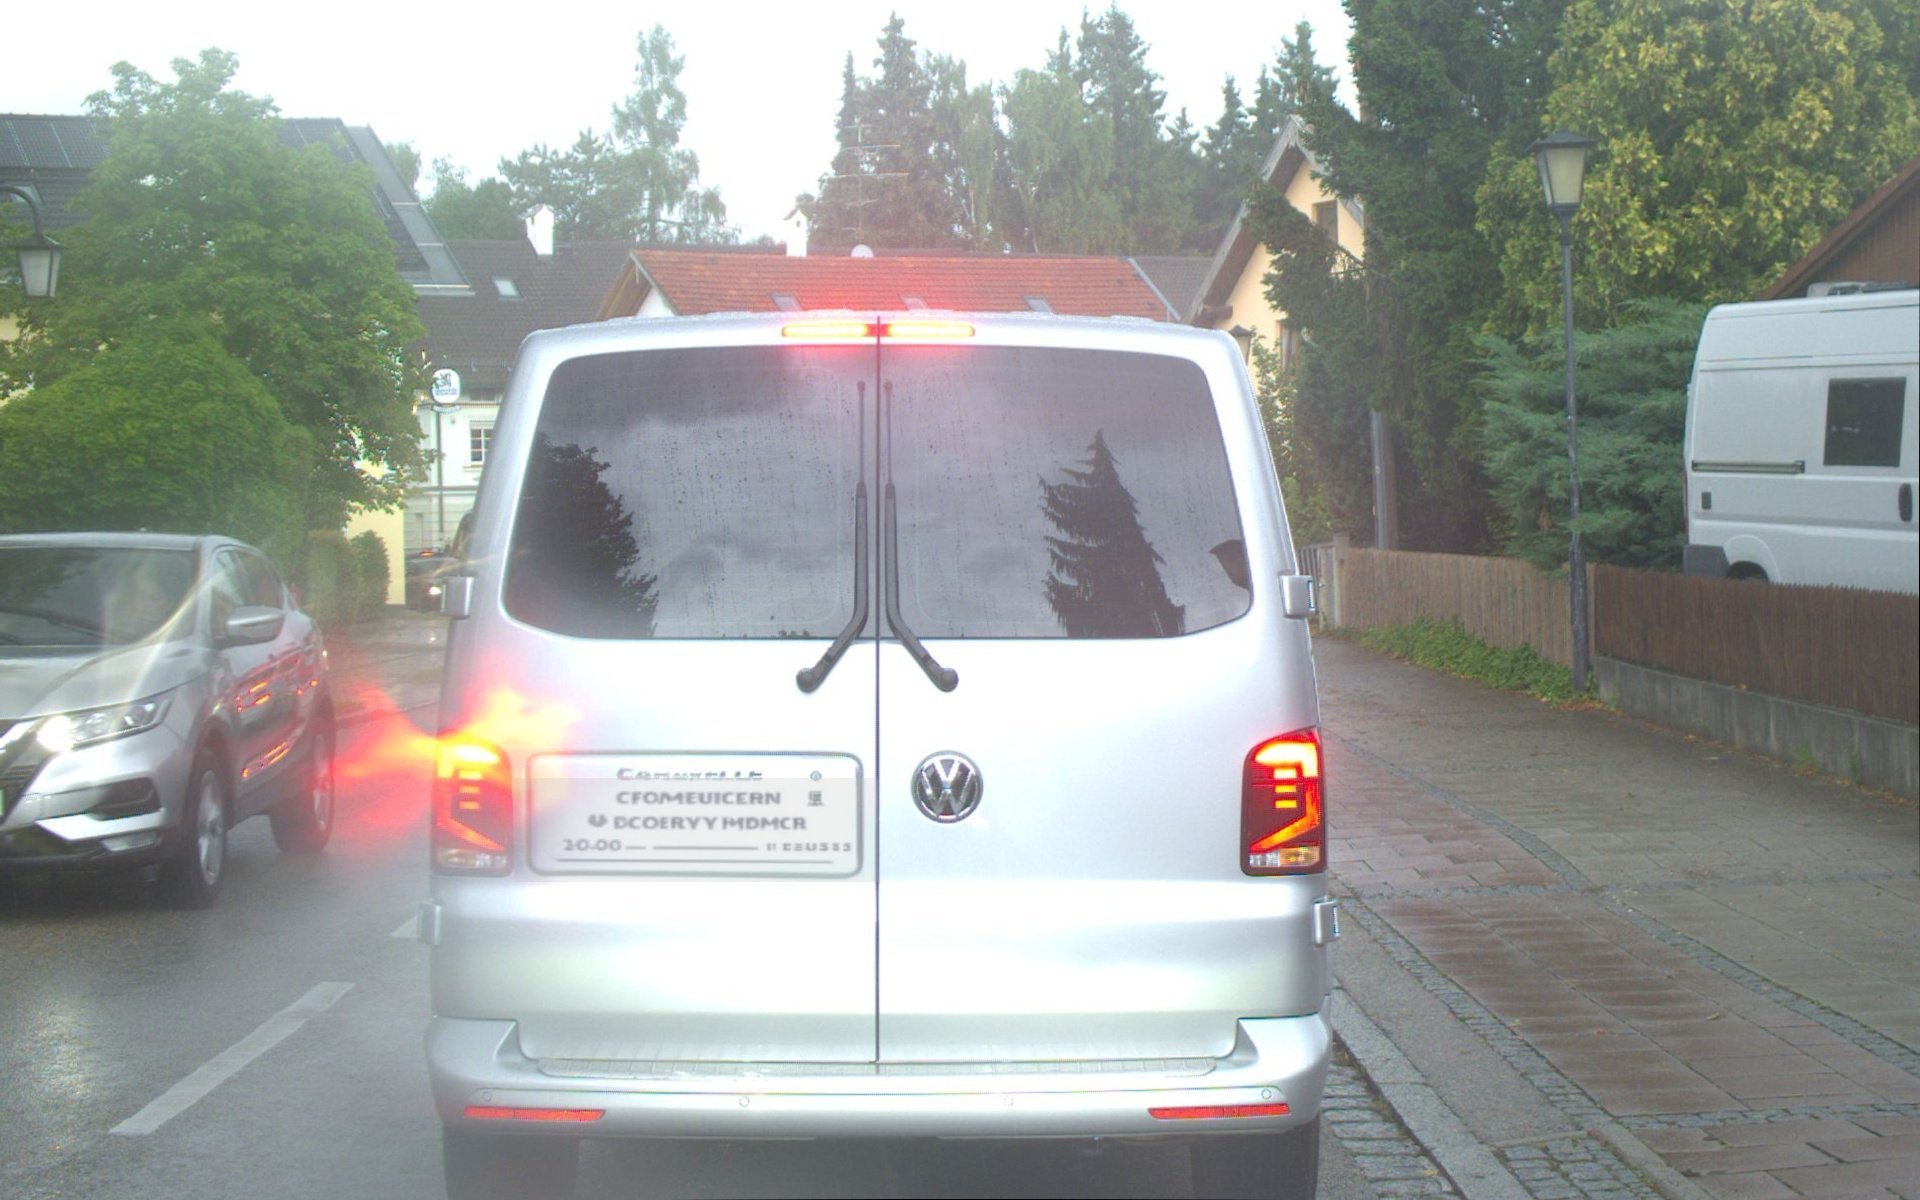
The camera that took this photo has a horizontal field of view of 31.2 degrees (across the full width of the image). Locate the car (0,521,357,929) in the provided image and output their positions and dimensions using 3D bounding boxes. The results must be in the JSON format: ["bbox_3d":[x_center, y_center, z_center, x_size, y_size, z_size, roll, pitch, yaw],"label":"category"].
[{"bbox_3d":[-3.946,0.481,15.253,1.827,1.553,4.177,-1,0,-1],"label":"car"}]

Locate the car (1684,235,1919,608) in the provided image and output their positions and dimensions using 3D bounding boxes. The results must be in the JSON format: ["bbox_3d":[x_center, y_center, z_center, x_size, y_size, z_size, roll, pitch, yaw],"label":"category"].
[{"bbox_3d":[6.390,-1.021,20.685,1.993,2.166,4.954,1,0,-14],"label":"car"}]

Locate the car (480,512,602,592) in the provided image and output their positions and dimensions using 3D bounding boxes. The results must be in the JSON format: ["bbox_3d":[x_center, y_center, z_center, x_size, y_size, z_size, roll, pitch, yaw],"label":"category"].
[{"bbox_3d":[-10.948,-1.241,89.596,1.993,2.007,4.001,1,0,-24],"label":"car"}]

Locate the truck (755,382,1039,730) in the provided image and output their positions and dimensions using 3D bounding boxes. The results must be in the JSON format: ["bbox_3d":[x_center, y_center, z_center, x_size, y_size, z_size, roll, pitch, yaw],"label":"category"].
[{"bbox_3d":[-0.613,-0.404,33.968,2.475,3.063,6.296,1,0,-1],"label":"truck"}]

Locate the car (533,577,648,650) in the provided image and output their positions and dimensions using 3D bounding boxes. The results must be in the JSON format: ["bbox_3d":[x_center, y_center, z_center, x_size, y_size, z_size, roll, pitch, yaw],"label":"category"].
[{"bbox_3d":[-6.958,0.243,65.066,1.780,1.306,3.776,1,0,-1],"label":"car"}]

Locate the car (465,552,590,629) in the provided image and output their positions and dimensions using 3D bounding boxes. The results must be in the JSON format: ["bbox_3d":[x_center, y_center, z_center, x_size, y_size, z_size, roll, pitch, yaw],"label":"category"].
[{"bbox_3d":[-11.281,-0.259,89.431,1.993,1.920,4.001,1,0,-26],"label":"car"}]

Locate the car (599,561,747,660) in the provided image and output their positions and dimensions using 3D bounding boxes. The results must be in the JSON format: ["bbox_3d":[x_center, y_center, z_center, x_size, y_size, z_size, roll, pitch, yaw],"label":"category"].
[{"bbox_3d":[-3.992,0.131,48.342,1.780,1.306,3.776,1,0,-1],"label":"car"}]

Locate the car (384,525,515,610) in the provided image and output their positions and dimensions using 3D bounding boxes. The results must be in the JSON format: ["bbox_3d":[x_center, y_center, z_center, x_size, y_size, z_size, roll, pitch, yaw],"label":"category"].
[{"bbox_3d":[-12.576,-0.809,84.548,1.993,2.007,4.001,1,0,-27],"label":"car"}]

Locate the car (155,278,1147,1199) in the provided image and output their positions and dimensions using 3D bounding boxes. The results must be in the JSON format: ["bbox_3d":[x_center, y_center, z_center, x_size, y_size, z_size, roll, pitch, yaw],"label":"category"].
[{"bbox_3d":[-0.510,0.420,8.336,1.801,2.007,4.000,1,0,2],"label":"car"}]
